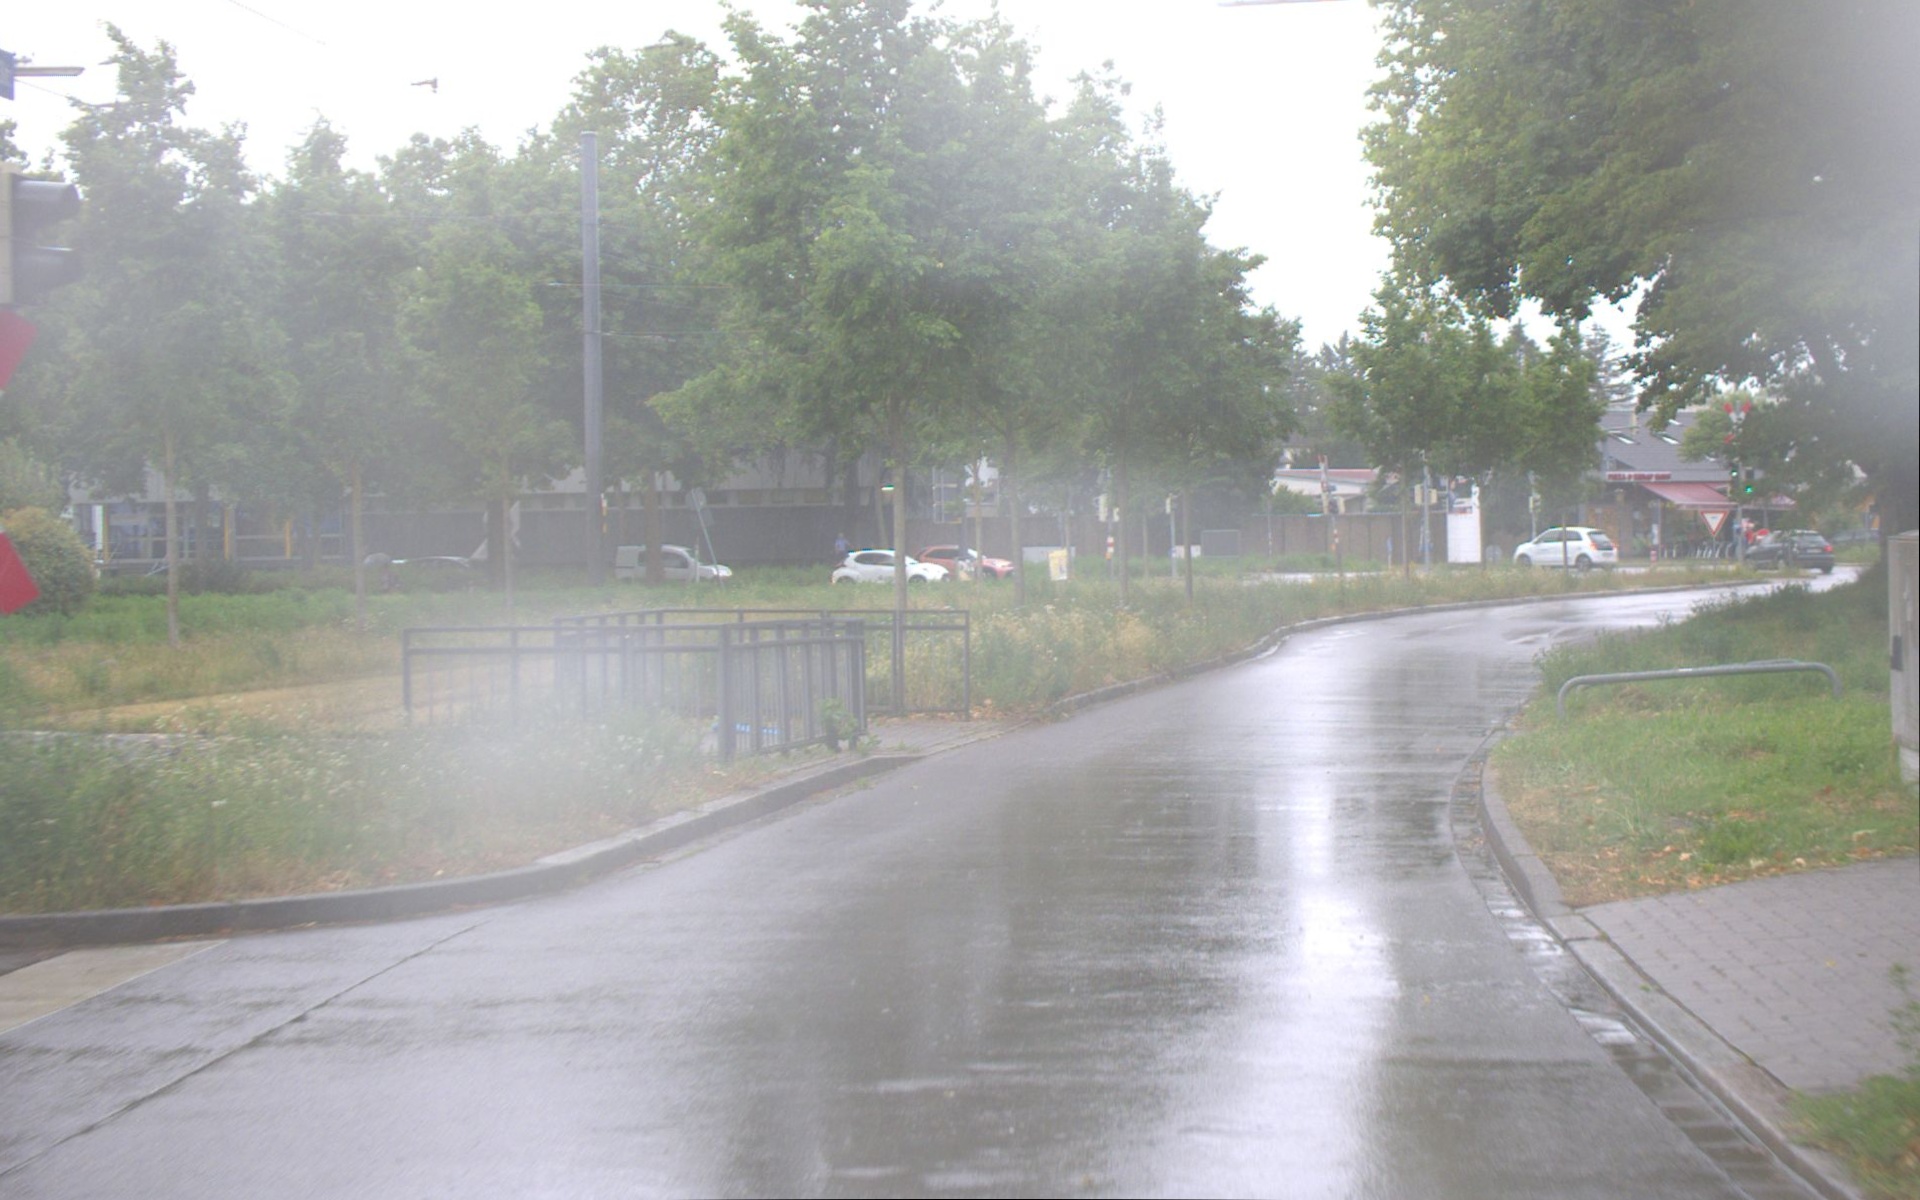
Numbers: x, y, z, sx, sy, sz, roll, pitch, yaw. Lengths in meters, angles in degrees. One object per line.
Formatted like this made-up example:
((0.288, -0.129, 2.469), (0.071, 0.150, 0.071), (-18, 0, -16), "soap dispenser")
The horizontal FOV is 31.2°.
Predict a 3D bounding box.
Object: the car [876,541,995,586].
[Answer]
((-0.855, -1.282, 120.692), (3.820, 1.494, 1.651), (-1, 0, 15), "car")

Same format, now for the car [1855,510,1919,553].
((42.321, -3.087, 153.595), (4.142, 1.853, 1.670), (-1, 0, 33), "car")

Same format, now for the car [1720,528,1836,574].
((26.424, -1.584, 111.108), (1.683, 1.415, 3.816), (-2, 1, -23), "car")

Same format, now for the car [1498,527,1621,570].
((21.048, -1.809, 120.734), (3.995, 1.415, 1.535), (0, 2, 37), "car")

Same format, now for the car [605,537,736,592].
((-10.094, -1.248, 119.857), (4.212, 1.790, 1.651), (-1, 2, 14), "car")

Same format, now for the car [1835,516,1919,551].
((40.468, -2.902, 150.707), (3.756, 1.437, 1.760), (-1, 1, 30), "car")

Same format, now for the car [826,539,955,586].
((-2.377, -1.274, 117.300), (4.068, 1.494, 1.651), (-1, 0, 15), "car")
